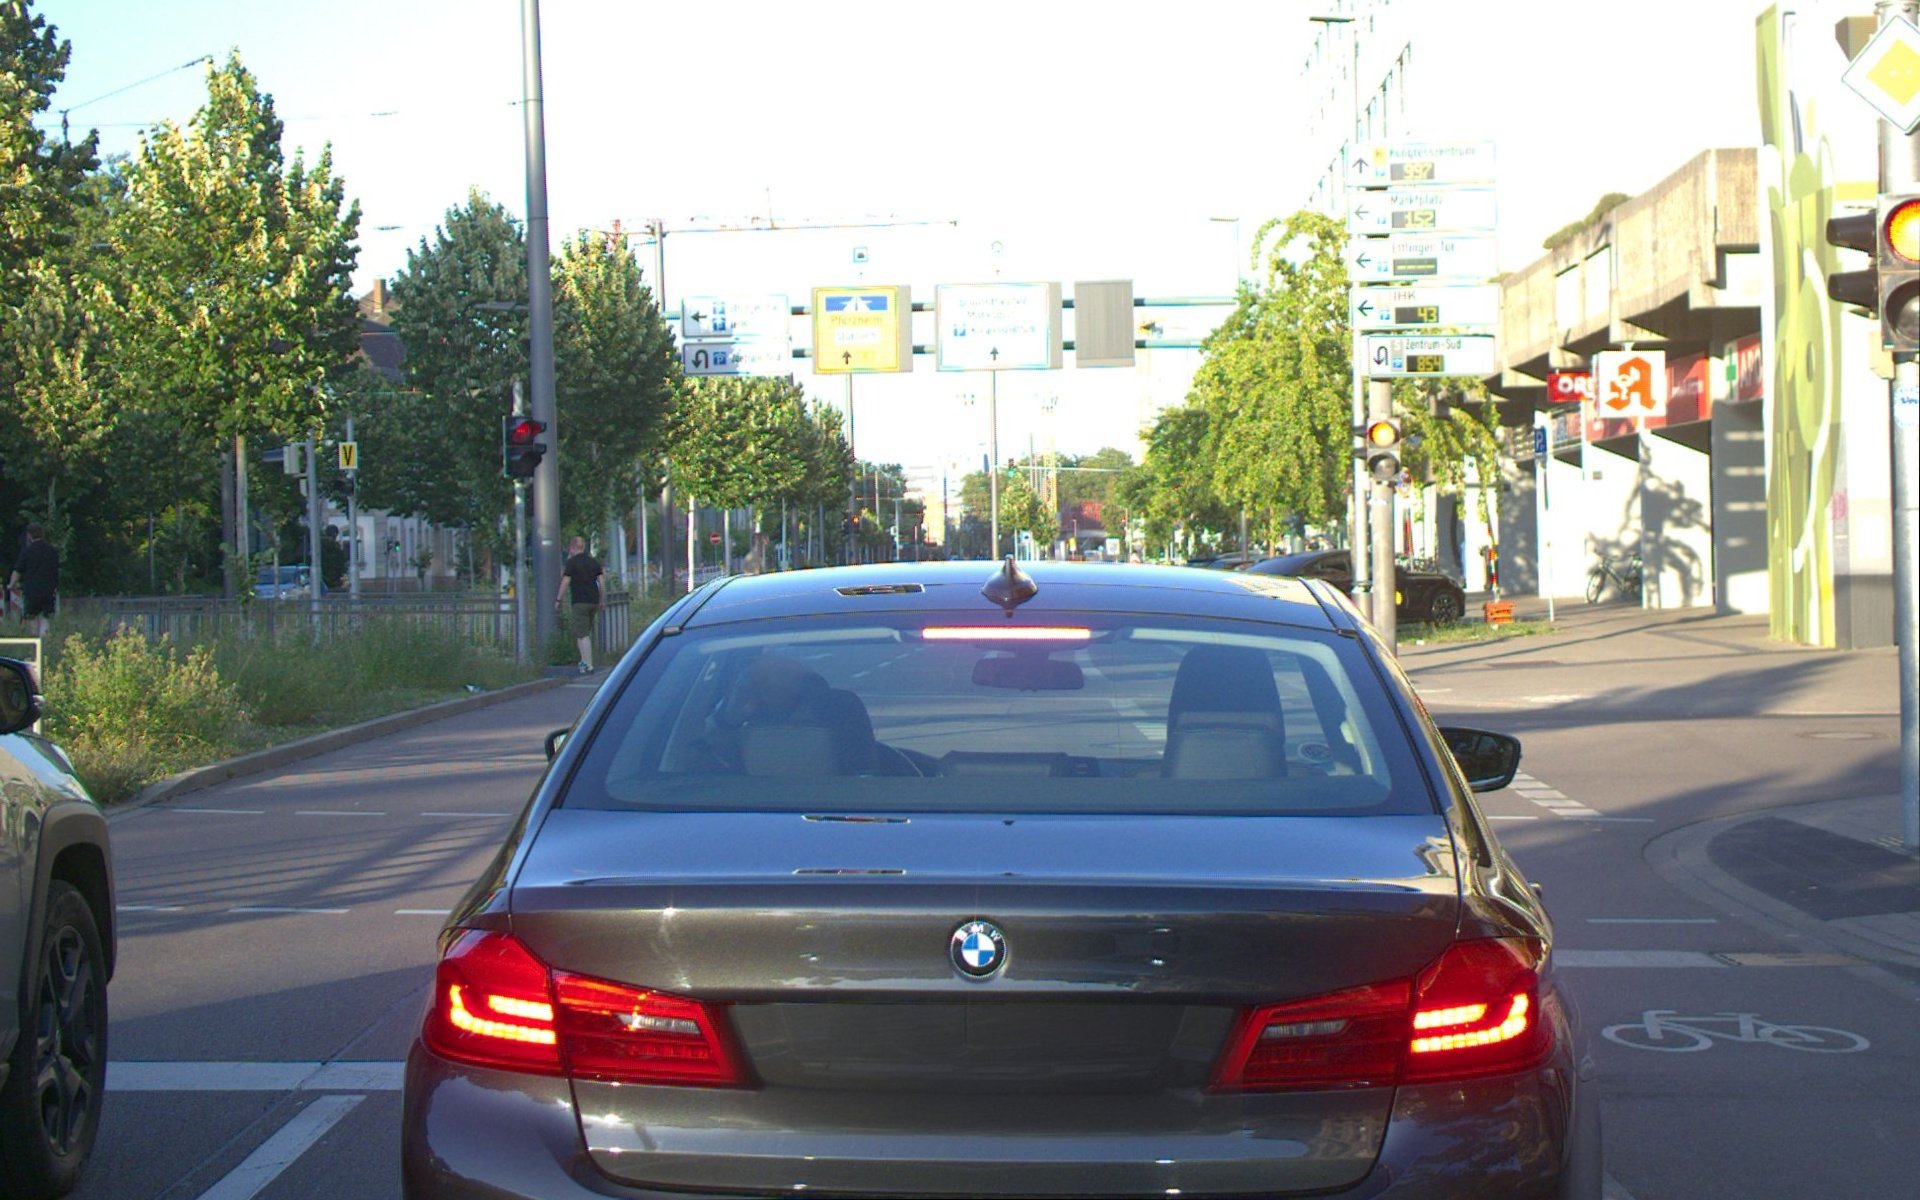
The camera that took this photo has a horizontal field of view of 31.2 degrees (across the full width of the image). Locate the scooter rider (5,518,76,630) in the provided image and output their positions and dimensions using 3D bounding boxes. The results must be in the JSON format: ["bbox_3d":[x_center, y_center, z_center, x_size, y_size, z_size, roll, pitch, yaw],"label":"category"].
[{"bbox_3d":[-12.600,-0.355,47.109,0.820,1.509,0.653,-2,1,-23],"label":"scooter rider"}]

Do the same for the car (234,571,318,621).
[{"bbox_3d":[-21.288,-0.126,107.112,1.800,1.476,3.783,-1,1,1],"label":"car"}]

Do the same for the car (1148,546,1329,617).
[{"bbox_3d":[6.904,-0.479,85.158,4.255,1.653,1.860,-1,2,-35],"label":"car"}]

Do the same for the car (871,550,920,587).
[{"bbox_3d":[-2.745,-1.361,146.949,1.979,1.428,4.843,0,2,0],"label":"car"}]

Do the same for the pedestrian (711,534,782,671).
[{"bbox_3d":[-2.692,0.026,43.427,0.835,1.706,0.648,-1,1,-1],"label":"pedestrian"}]

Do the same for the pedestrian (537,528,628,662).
[{"bbox_3d":[-4.558,-0.066,41.507,0.809,1.581,0.838,-2,1,-28],"label":"pedestrian"}]

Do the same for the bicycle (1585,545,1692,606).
[{"bbox_3d":[13.605,-0.495,68.971,2.017,1.145,0.690,2,0,7],"label":"bicycle"}]

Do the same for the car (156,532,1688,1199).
[{"bbox_3d":[0.044,0.643,6.608,1.932,1.476,4.522,0,2,3],"label":"car"}]

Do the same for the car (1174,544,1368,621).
[{"bbox_3d":[7.175,-0.428,79.188,4.255,1.653,1.860,-1,2,-35],"label":"car"}]

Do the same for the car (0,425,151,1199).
[{"bbox_3d":[-2.859,0.494,6.246,1.854,1.653,4.269,0,2,-1],"label":"car"}]

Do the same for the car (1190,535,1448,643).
[{"bbox_3d":[5.944,-0.218,56.668,4.256,1.653,1.860,-2,3,-42],"label":"car"}]

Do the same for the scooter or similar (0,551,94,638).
[{"bbox_3d":[-12.588,-0.078,47.081,1.329,1.149,0.514,-2,1,-23],"label":"scooter or similar"}]
